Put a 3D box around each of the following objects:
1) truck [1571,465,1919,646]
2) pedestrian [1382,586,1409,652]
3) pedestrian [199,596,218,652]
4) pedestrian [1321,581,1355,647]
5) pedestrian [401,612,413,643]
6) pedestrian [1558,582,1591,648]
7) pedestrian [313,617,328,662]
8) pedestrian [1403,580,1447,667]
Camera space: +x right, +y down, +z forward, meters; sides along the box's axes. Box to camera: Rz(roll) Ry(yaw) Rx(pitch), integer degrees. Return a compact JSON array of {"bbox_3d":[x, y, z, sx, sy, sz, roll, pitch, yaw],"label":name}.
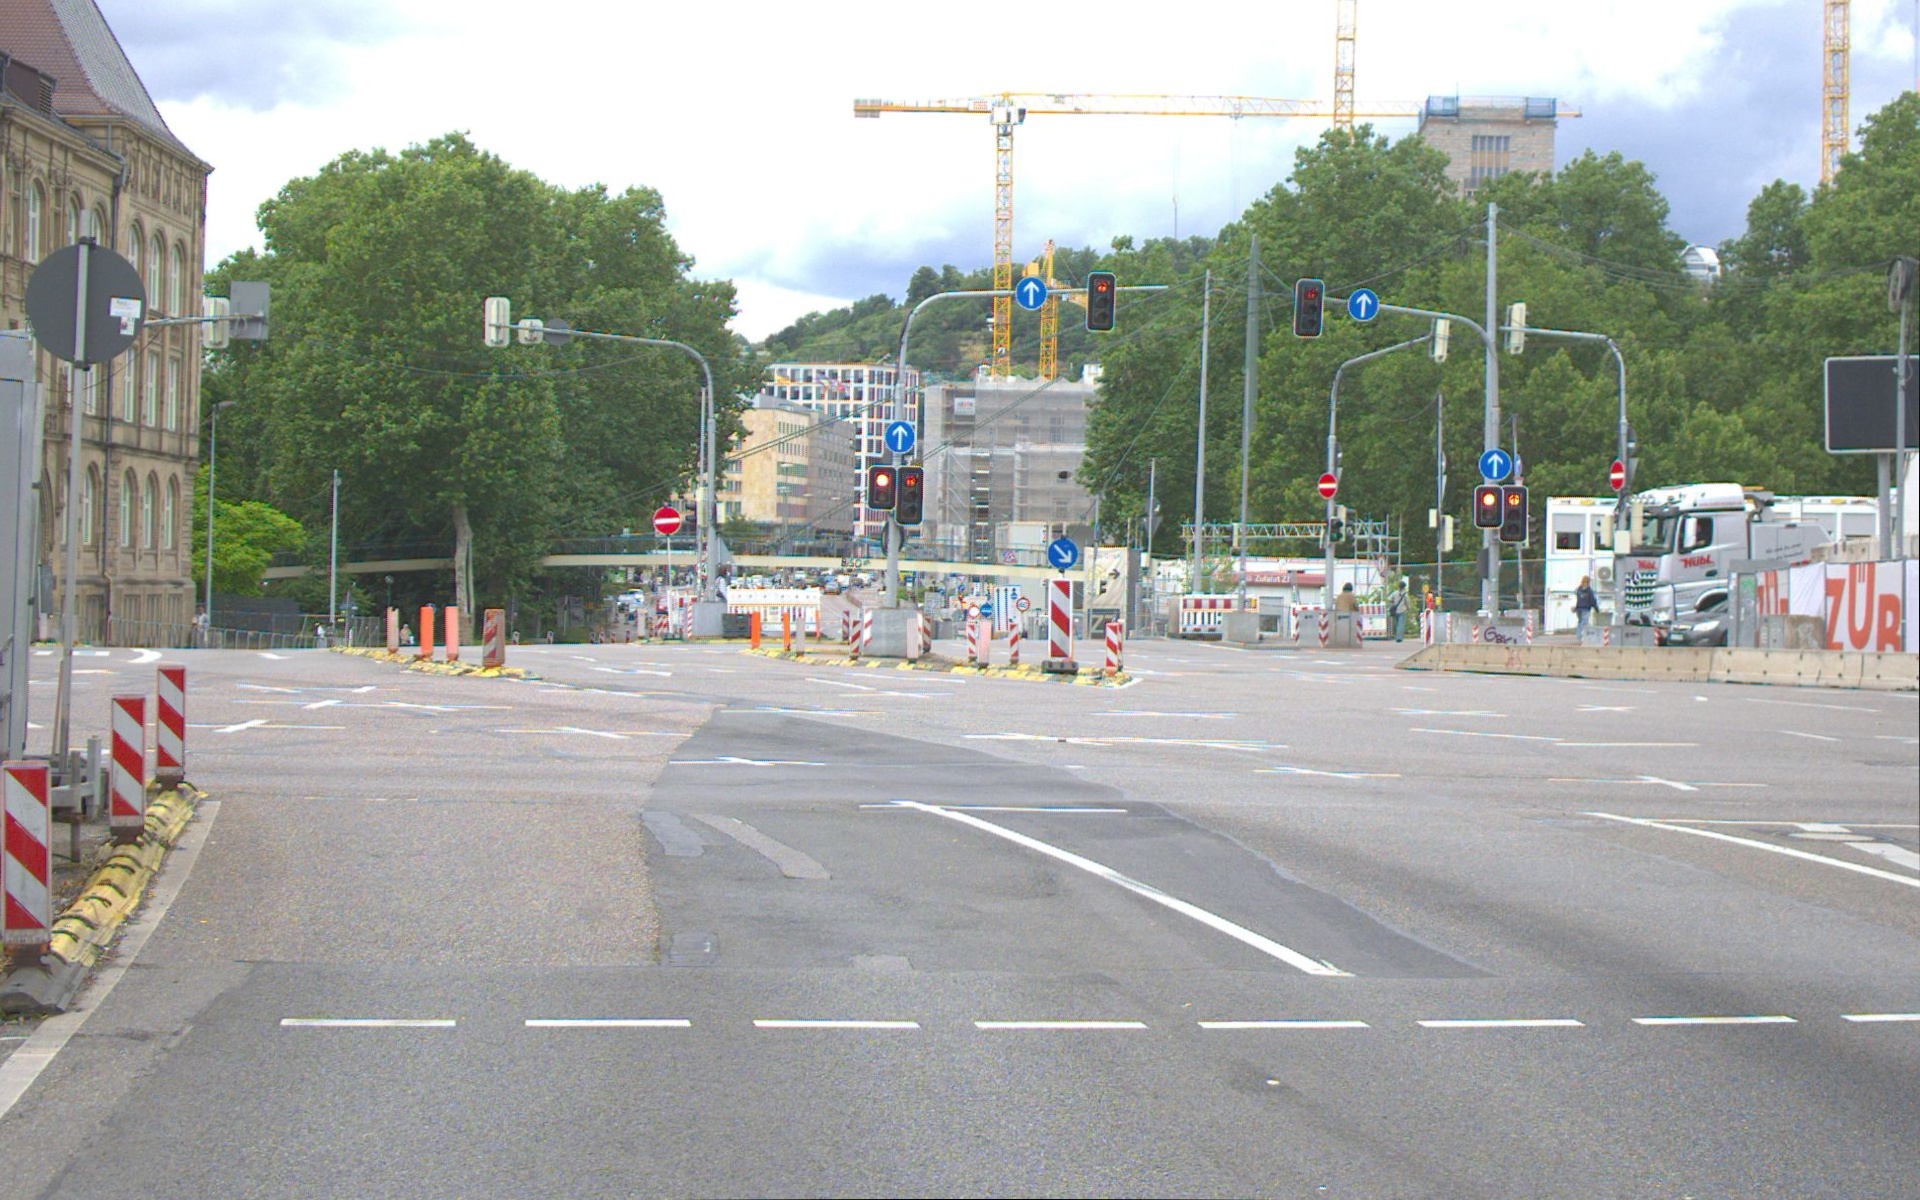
[{"bbox_3d":[21.354,-0.997,82.005,13.022,4.027,3.952,1,1,-20],"label":"truck"},{"bbox_3d":[11.276,0.485,89.032,0.566,1.683,0.472,1,1,-1],"label":"pedestrian"},{"bbox_3d":[-26.819,0.853,122.747,0.524,2.007,0.567,1,1,0],"label":"pedestrian"},{"bbox_3d":[9.719,0.358,88.409,0.729,1.683,0.678,1,1,-1],"label":"pedestrian"},{"bbox_3d":[-28.683,1.448,178.397,0.536,1.587,0.516,1,1,-4],"label":"pedestrian"},{"bbox_3d":[15.901,0.384,88.955,0.622,1.683,0.710,2,1,29],"label":"pedestrian"},{"bbox_3d":[-28.645,1.779,153.910,0.524,2.007,0.567,1,1,0],"label":"pedestrian"},{"bbox_3d":[9.129,0.457,67.477,0.729,1.683,0.678,1,1,-1],"label":"pedestrian"}]
